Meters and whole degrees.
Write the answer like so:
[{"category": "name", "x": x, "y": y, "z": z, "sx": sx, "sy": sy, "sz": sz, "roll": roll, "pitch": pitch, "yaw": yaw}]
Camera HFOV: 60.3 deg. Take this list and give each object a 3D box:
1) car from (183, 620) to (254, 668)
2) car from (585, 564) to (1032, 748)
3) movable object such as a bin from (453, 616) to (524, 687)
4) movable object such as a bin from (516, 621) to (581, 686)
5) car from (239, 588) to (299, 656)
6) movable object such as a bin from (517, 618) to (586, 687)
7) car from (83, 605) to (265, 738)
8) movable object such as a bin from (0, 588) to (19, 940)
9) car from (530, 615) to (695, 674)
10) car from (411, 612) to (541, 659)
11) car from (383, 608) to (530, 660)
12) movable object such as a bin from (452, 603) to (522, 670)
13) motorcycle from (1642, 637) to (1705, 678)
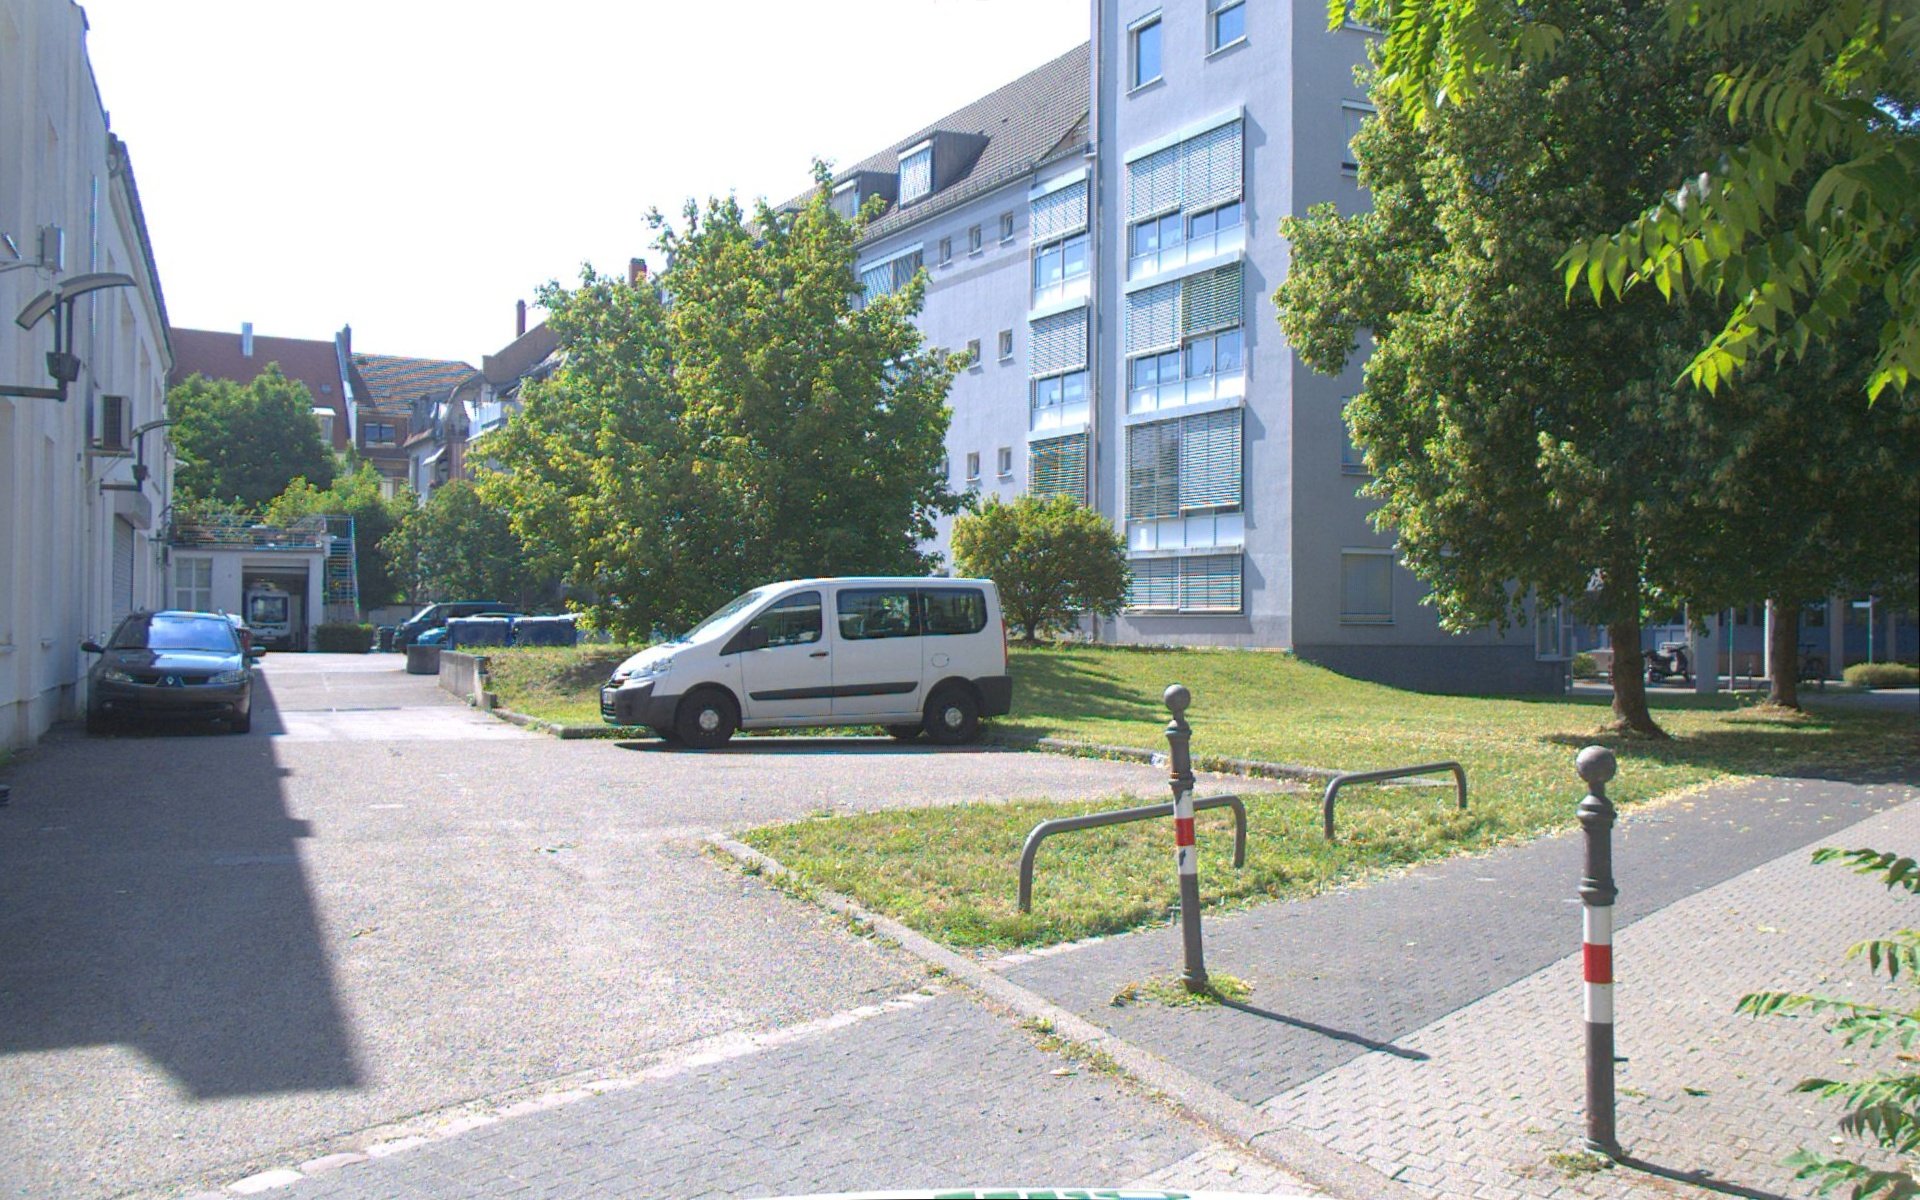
[{"category": "car", "x": -22.218, "y": 1.297, "z": 49.571, "sx": 1.828, "sy": 1.343, "sz": 3.969, "roll": 2, "pitch": -1, "yaw": -25}, {"category": "car", "x": -1.789, "y": 0.625, "z": 19.658, "sx": 4.956, "sy": 1.967, "sz": 1.986, "roll": 0, "pitch": -1, "yaw": -23}, {"category": "movable object such as a bin", "x": -9.428, "y": 1.037, "z": 33.053, "sx": 1.230, "sy": 1.342, "sz": 1.134, "roll": -2, "pitch": -1, "yaw": -22}, {"category": "movable object such as a bin", "x": -8.825, "y": 1.128, "z": 35.447, "sx": 1.142, "sy": 1.360, "sz": 1.132, "roll": 0, "pitch": -1, "yaw": -27}, {"category": "car", "x": -28.569, "y": 0.926, "z": 68.310, "sx": 2.145, "sy": 2.653, "sz": 6.684, "roll": -1, "pitch": -1, "yaw": -23}, {"category": "movable object such as a bin", "x": -8.332, "y": 1.050, "z": 33.729, "sx": 1.229, "sy": 1.364, "sz": 1.135, "roll": 0, "pitch": -1, "yaw": -21}, {"category": "car", "x": -9.756, "y": 0.909, "z": 20.691, "sx": 1.813, "sy": 1.467, "sz": 4.395, "roll": 2, "pitch": -3, "yaw": -24}, {"category": "movable object such as a bin", "x": -4.503, "y": 0.676, "z": 6.539, "sx": 1.228, "sy": 1.456, "sz": 1.339, "roll": 0, "pitch": -1, "yaw": -25}, {"category": "car", "x": -9.159, "y": 1.147, "z": 43.576, "sx": 3.940, "sy": 1.452, "sz": 1.796, "roll": 0, "pitch": -1, "yaw": -27}, {"category": "car", "x": -17.392, "y": 1.254, "z": 59.427, "sx": 4.180, "sy": 1.559, "sz": 1.982, "roll": -1, "pitch": 0, "yaw": -28}, {"category": "car", "x": -18.942, "y": 1.247, "z": 62.269, "sx": 4.914, "sy": 1.798, "sz": 2.069, "roll": -1, "pitch": 0, "yaw": -37}, {"category": "movable object such as a bin", "x": -9.967, "y": 0.757, "z": 34.837, "sx": 1.232, "sy": 1.379, "sz": 1.119, "roll": 0, "pitch": -1, "yaw": -27}, {"category": "motorcycle", "x": 22.659, "y": 1.829, "z": 52.508, "sx": 2.028, "sy": 1.268, "sz": 0.625, "roll": 0, "pitch": -1, "yaw": -23}]
